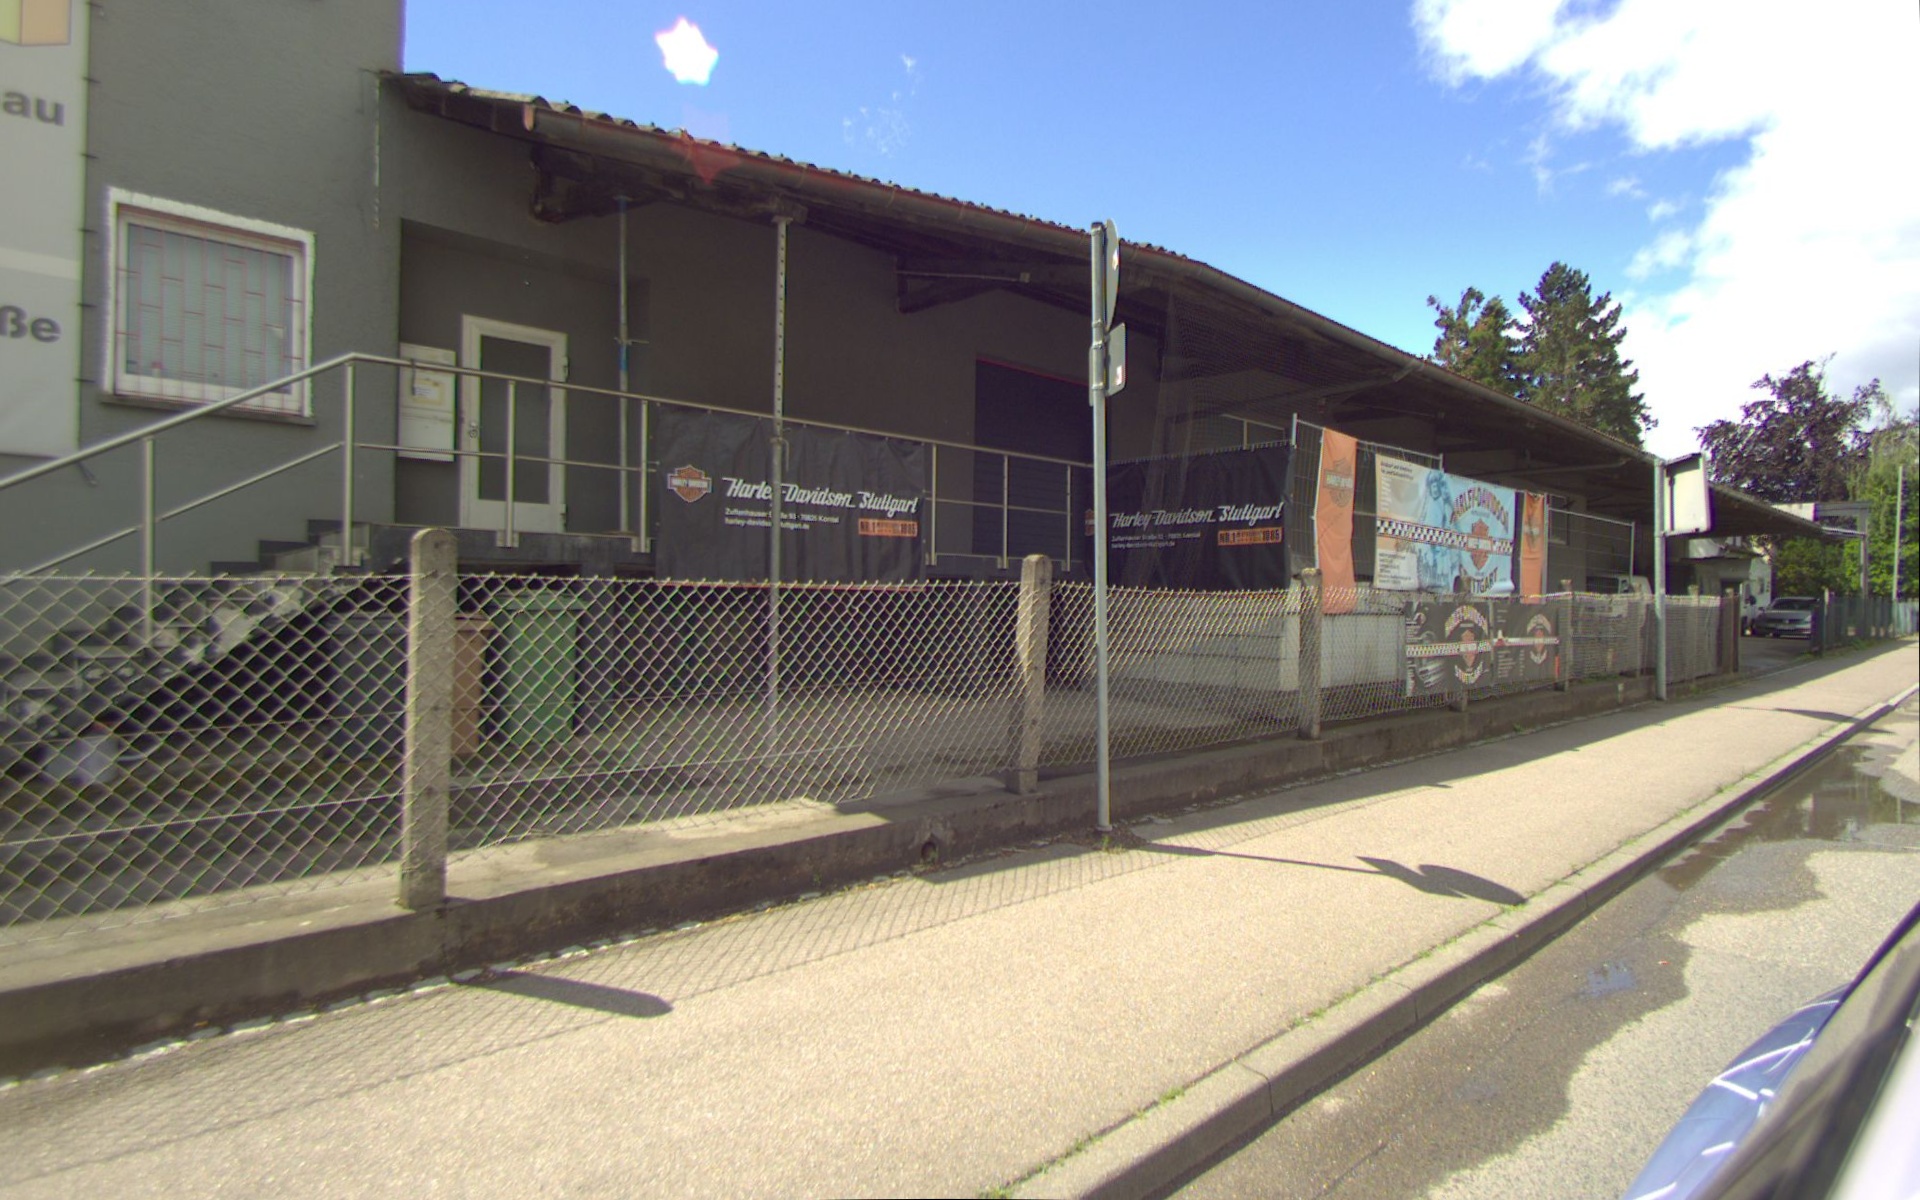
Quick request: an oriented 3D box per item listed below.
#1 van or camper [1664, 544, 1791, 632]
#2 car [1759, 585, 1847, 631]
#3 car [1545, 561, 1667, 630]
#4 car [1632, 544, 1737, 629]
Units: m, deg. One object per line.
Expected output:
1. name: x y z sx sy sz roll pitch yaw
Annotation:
1. van or camper: 29.608 -0.435 38.927 6.798 3.099 2.883 0 0 -44
2. car: 29.643 0.274 35.538 4.842 1.508 1.766 1 0 -43
3. car: 19.795 -0.117 30.912 4.770 1.934 1.996 1 0 -43
4. car: 25.088 -0.383 34.968 5.405 2.715 2.019 2 -1 -44
